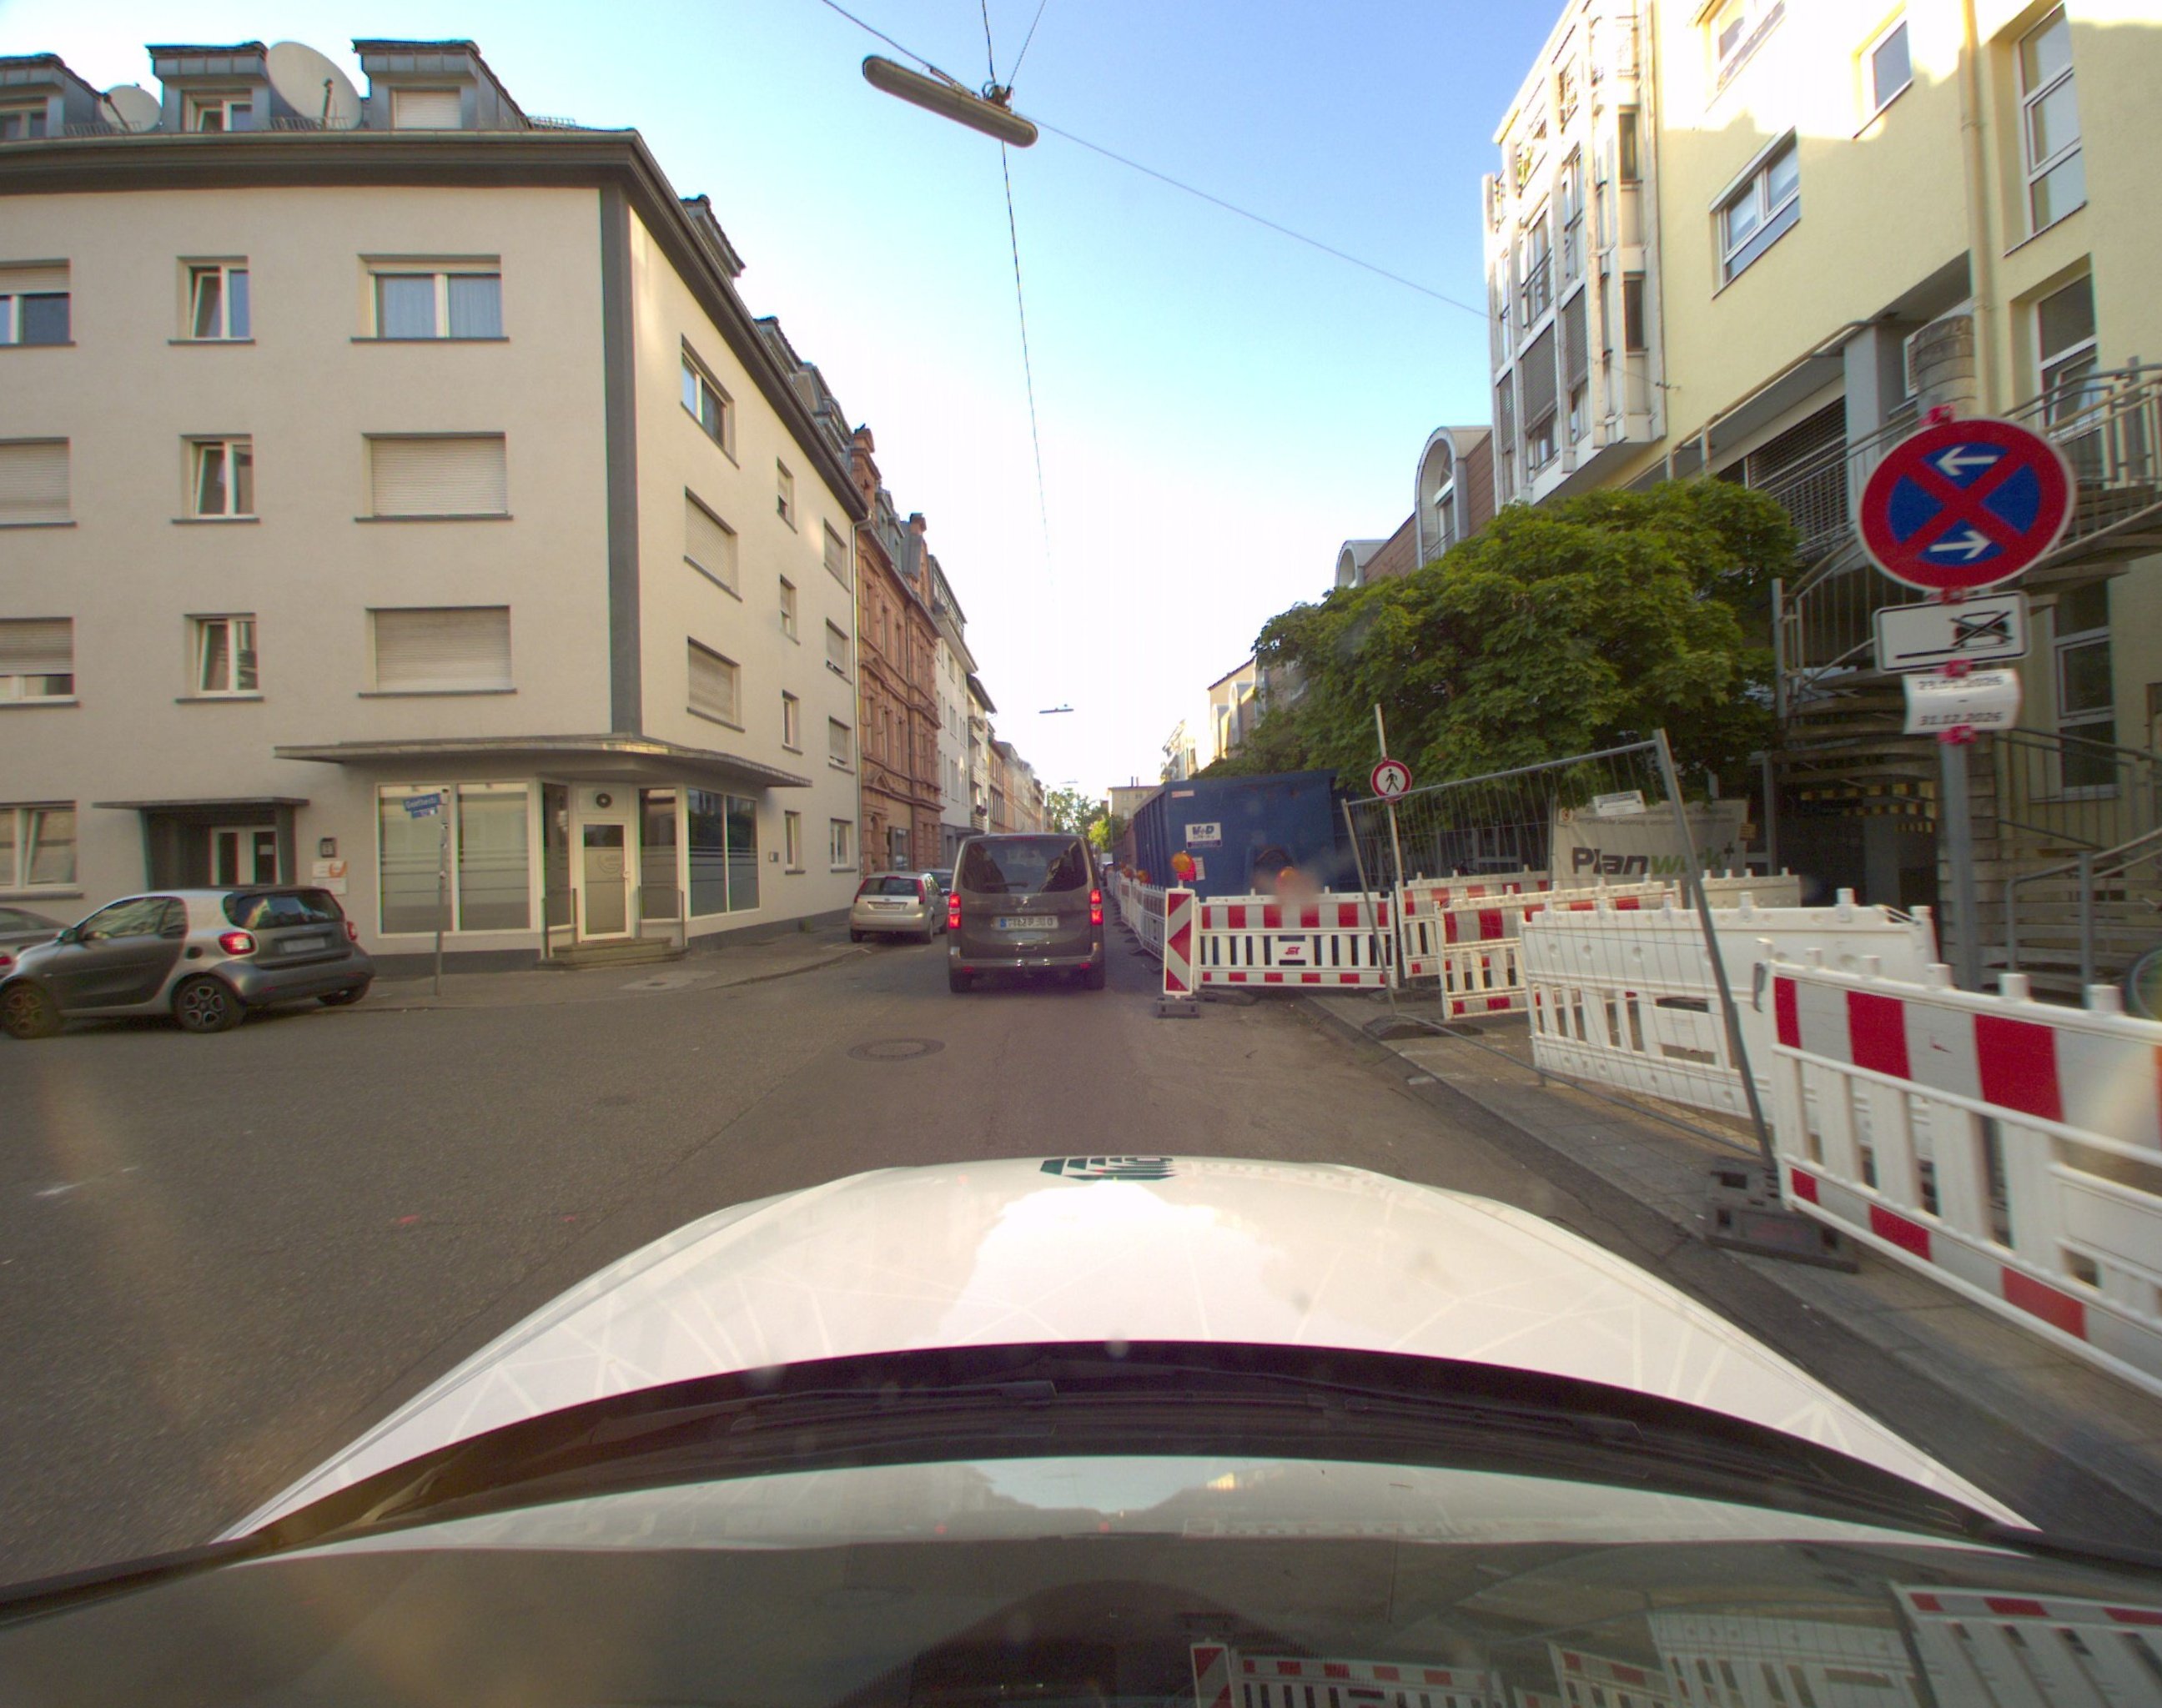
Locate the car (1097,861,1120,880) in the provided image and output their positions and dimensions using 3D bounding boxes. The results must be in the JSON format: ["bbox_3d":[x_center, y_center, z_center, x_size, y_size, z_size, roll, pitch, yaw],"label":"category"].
[{"bbox_3d":[2.426,1.489,73.746,1.718,1.612,4.584,-2,-1,-2],"label":"car"}]

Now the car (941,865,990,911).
[{"bbox_3d":[-4.214,1.221,30.051,1.391,1.588,2.793,-1,-1,0],"label":"car"}]

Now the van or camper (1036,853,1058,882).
[{"bbox_3d":[-3.264,1.296,79.251,1.944,2.649,7.135,-3,-1,-2],"label":"van or camper"}]

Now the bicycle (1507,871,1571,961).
[{"bbox_3d":[5.881,0.755,10.511,0.562,1.069,1.373,-1,-1,23],"label":"bicycle"}]

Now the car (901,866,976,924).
[{"bbox_3d":[-4.006,1.115,23.378,1.550,1.508,3.596,1,-1,-1],"label":"car"}]

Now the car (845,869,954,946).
[{"bbox_3d":[-3.856,1.088,17.852,1.627,1.430,3.553,-1,-1,-1],"label":"car"}]

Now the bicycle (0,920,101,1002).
[{"bbox_3d":[-15.803,1.569,11.987,2.046,1.137,0.488,0,-1,-3],"label":"bicycle"}]

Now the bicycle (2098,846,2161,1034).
[{"bbox_3d":[8.098,0.577,5.676,1.646,1.268,0.547,0,-1,-11],"label":"bicycle"}]

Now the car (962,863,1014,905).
[{"bbox_3d":[-3.825,1.216,34.088,1.735,1.599,4.013,-1,-1,-1],"label":"car"}]

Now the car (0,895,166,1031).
[{"bbox_3d":[-14.203,1.304,9.727,4.237,1.453,1.967,-1,-1,-1],"label":"car"}]

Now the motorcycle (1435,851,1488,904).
[{"bbox_3d":[9.587,0.584,20.599,0.863,1.222,2.468,-3,-2,18],"label":"motorcycle"}]

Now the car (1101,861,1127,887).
[{"bbox_3d":[2.297,1.332,56.505,1.742,1.683,4.528,-1,-1,2],"label":"car"}]

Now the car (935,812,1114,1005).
[{"bbox_3d":[-0.635,0.617,10.995,1.852,2.013,3.999,-4,-1,-1],"label":"car"}]

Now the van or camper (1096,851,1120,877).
[{"bbox_3d":[2.945,1.132,89.343,2.094,2.602,7.507,-3,-1,-1],"label":"van or camper"}]

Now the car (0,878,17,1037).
[{"bbox_3d":[-12.051,1.006,6.594,3.980,1.486,1.997,-1,-1,-5],"label":"car"}]

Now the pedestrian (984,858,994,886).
[{"bbox_3d":[-5.402,1.080,47.959,0.493,1.638,0.665,0,-1,0],"label":"pedestrian"}]

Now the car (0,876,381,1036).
[{"bbox_3d":[-10.160,1.093,9.363,2.745,1.566,1.648,-1,0,0],"label":"car"}]
